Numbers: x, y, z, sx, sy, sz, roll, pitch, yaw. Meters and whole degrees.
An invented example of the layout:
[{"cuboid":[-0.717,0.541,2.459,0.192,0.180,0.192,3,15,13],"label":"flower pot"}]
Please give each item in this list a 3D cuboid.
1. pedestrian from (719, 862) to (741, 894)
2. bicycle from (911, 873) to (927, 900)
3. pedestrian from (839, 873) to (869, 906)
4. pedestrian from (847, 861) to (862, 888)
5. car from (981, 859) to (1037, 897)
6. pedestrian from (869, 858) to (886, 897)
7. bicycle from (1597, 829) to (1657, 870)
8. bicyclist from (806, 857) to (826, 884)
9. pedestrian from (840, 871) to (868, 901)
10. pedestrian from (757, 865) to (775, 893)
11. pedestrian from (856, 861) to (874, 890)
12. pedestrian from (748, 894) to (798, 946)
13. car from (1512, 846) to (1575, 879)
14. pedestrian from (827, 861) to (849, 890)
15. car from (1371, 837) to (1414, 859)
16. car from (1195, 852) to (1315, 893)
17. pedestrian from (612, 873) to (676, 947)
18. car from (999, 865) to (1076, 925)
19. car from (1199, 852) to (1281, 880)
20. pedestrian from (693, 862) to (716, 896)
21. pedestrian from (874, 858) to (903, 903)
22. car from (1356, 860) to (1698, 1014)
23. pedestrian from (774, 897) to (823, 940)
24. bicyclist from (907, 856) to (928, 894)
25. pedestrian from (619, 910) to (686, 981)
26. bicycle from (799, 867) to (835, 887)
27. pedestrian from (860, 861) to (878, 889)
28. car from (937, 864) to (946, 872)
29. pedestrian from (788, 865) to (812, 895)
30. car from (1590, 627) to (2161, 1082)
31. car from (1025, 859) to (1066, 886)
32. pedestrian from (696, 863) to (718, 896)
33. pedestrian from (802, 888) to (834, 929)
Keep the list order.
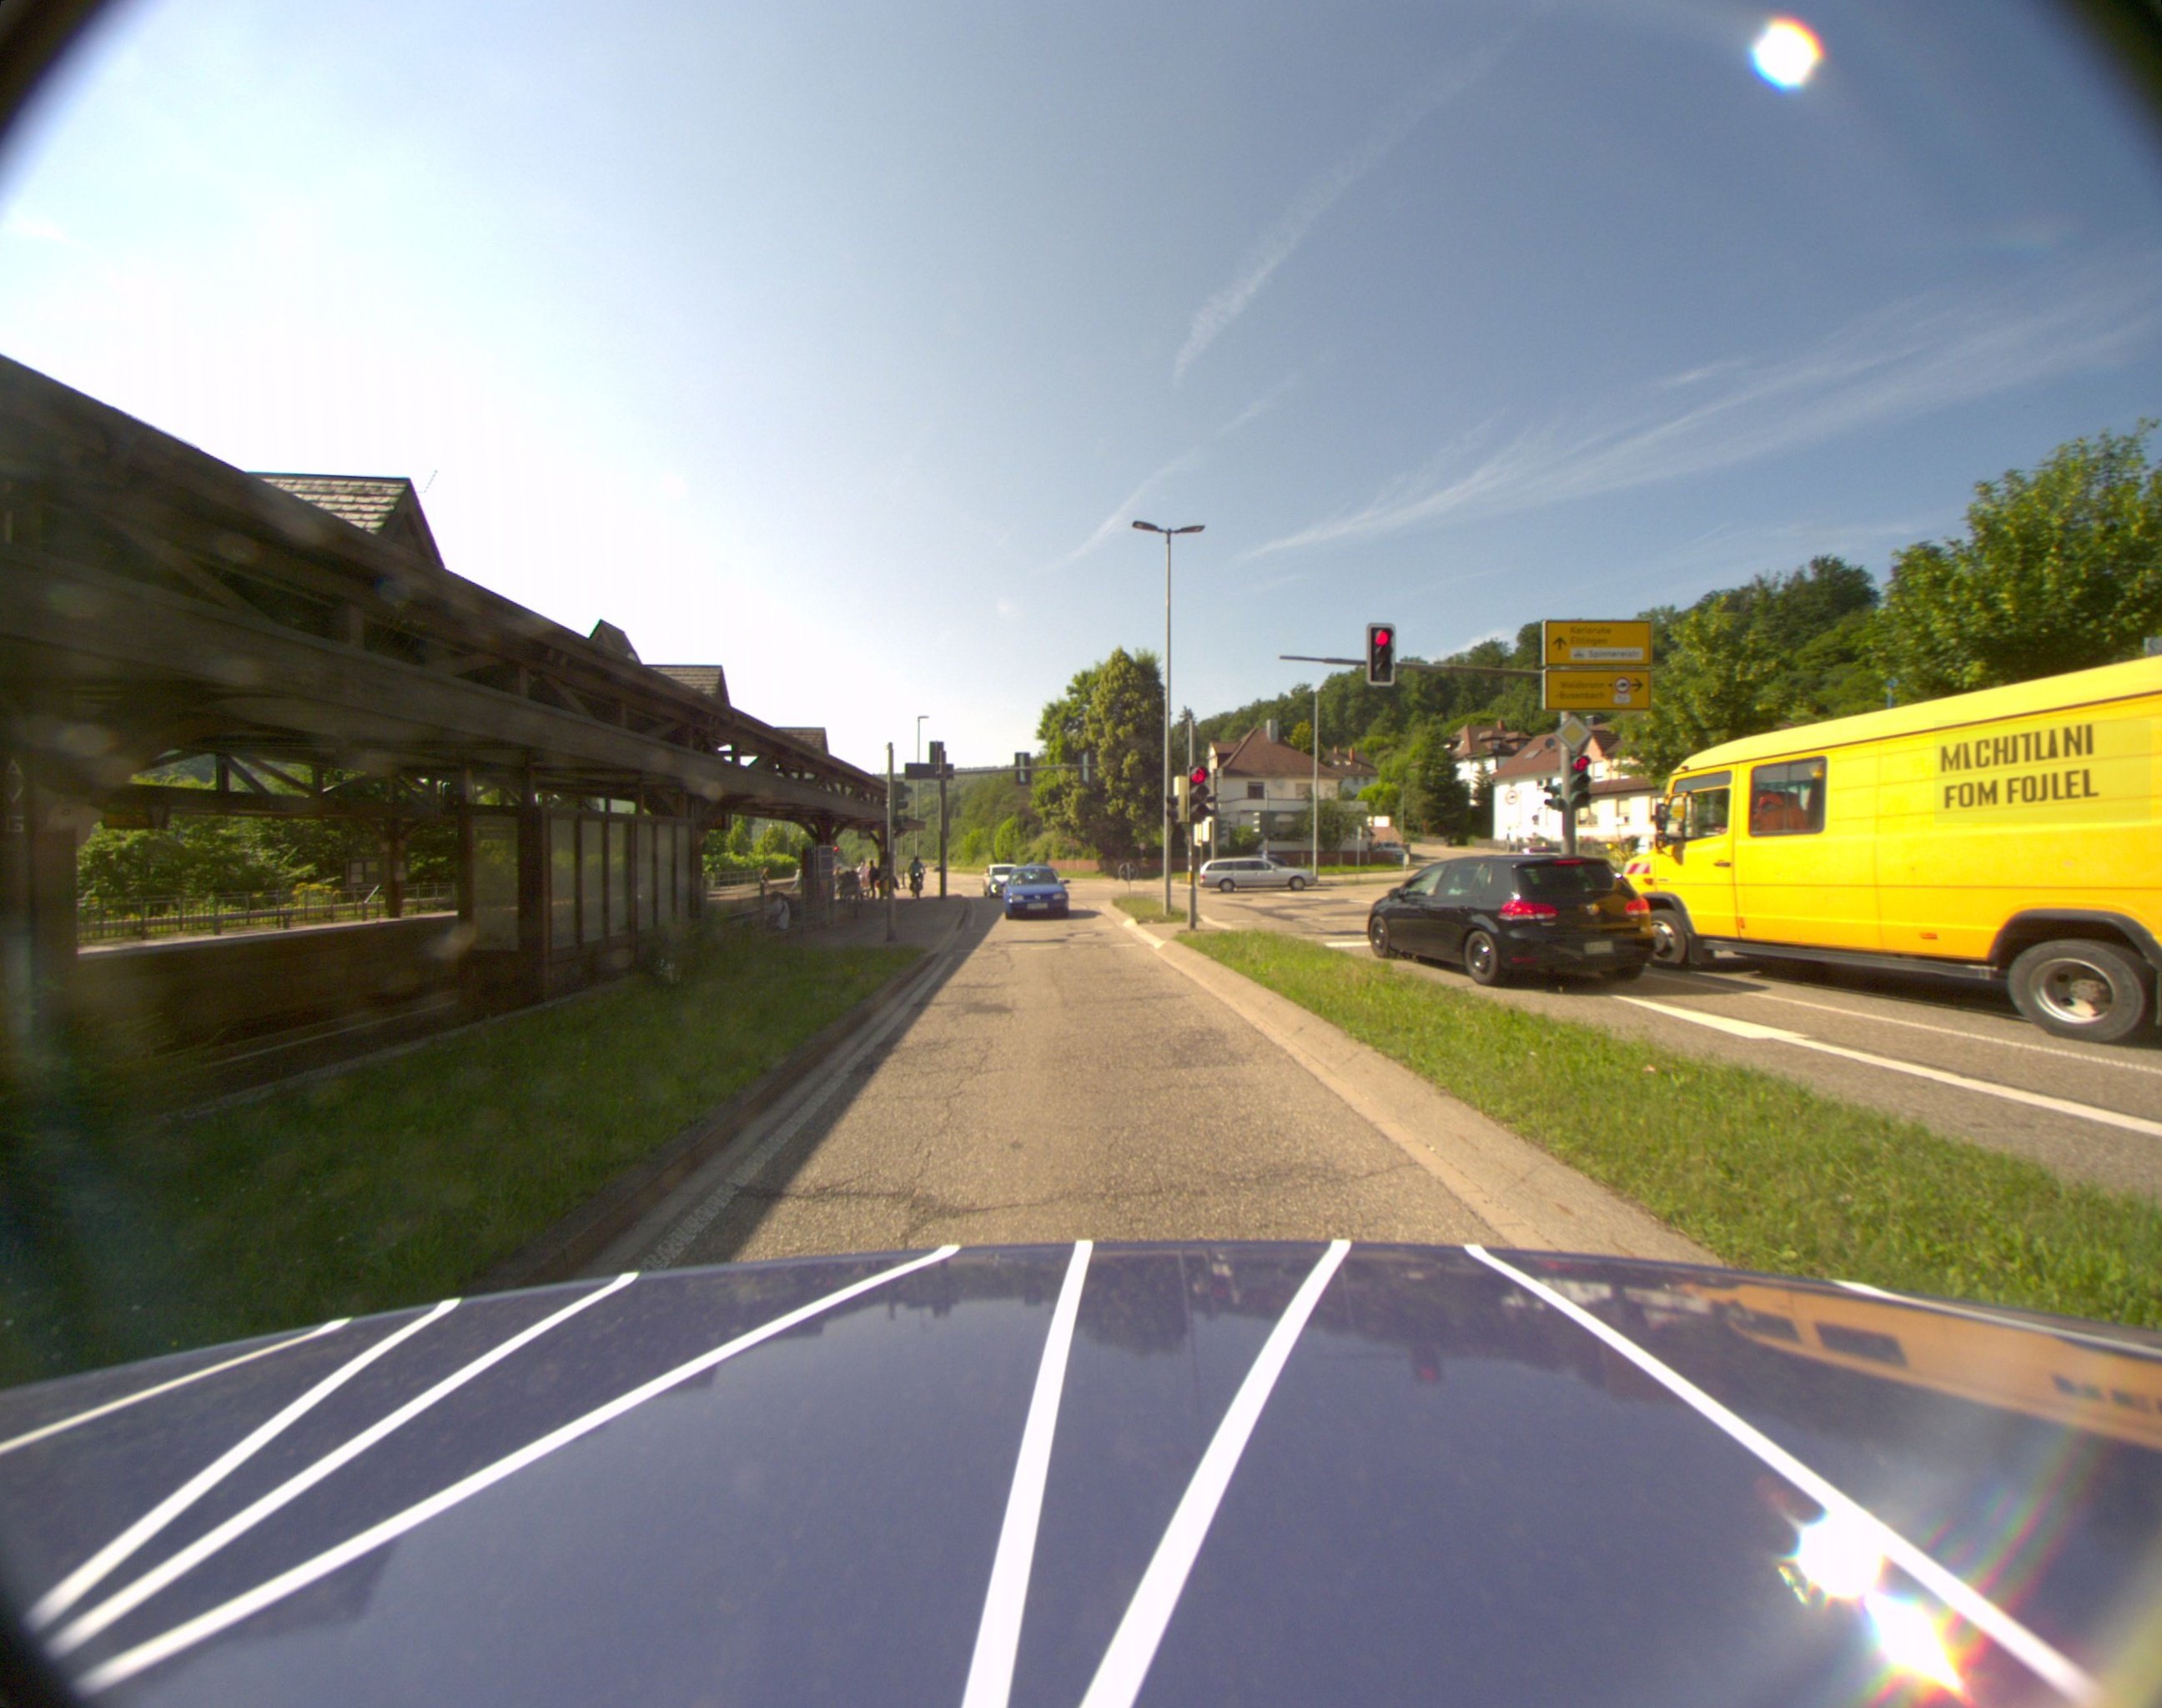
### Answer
[{"cuboid":[-20.746,1.424,44.925,0.904,1.838,0.822,-3,-1,-11],"label":"pedestrian"},{"cuboid":[-6.974,1.385,32.730,0.604,1.049,1.812,-3,0,-11],"label":"bicycle"},{"cuboid":[-8.725,1.362,29.246,0.994,1.228,0.596,-3,-1,-14],"label":"pedestrian"},{"cuboid":[-14.300,1.312,48.010,0.558,1.674,0.685,-3,-1,21],"label":"pedestrian"},{"cuboid":[-3.404,1.076,35.432,2.001,1.575,3.996,-3,0,-13],"label":"car"},{"cuboid":[-8.883,1.021,33.124,0.659,1.682,0.738,-1,0,-13],"label":"pedestrian"},{"cuboid":[18.291,-0.123,25.503,0.620,1.247,1.758,-6,-2,2],"label":"bicycle"},{"cuboid":[-17.170,1.050,49.243,0.902,1.674,0.823,-3,-1,9],"label":"bicyclist"},{"cuboid":[-9.078,1.271,30.433,1.010,1.153,0.947,-2,1,-13],"label":"pedestrian"},{"cuboid":[-19.020,1.512,45.932,0.905,1.674,1.123,-3,-1,-23],"label":"pedestrian"},{"cuboid":[-13.185,1.307,46.453,0.868,1.674,0.822,-3,-1,-7],"label":"pedestrian"},{"cuboid":[-6.421,1.364,15.884,0.744,0.976,0.769,-3,-1,-7],"label":"pedestrian"},{"cuboid":[23.412,0.413,38.412,3.963,1.525,1.658,-1,-1,-43],"label":"car"},{"cuboid":[-14.802,1.295,46.275,0.901,1.674,0.824,-4,-1,42],"label":"pedestrian"},{"cuboid":[25.830,-0.493,63.124,1.939,1.627,4.001,-3,-1,2],"label":"car"},{"cuboid":[7.430,0.778,32.326,4.741,1.495,1.984,-3,-1,19],"label":"car"},{"cuboid":[-9.430,1.193,16.430,0.863,1.538,0.922,-1,-1,-5],"label":"pedestrian"},{"cuboid":[-1.332,1.075,21.548,1.866,1.474,4.299,-1,0,-7],"label":"car"},{"cuboid":[9.692,0.748,46.520,4.743,1.475,1.983,-3,-1,11],"label":"car"},{"cuboid":[-20.832,1.376,42.060,0.904,1.838,0.822,-3,-1,-11],"label":"pedestrian"},{"cuboid":[-7.749,1.056,30.640,0.916,1.726,1.251,-3,-1,-6],"label":"pedestrian"},{"cuboid":[5.107,0.821,9.458,1.750,1.454,4.042,-1,0,-3],"label":"car"},{"cuboid":[-6.423,1.458,17.331,0.847,0.869,0.807,-3,-1,-7],"label":"pedestrian"},{"cuboid":[-7.037,0.893,32.780,0.787,1.559,0.946,-3,1,-11],"label":"bicyclist"},{"cuboid":[-7.302,1.547,12.968,0.744,1.110,0.667,-3,-1,-7],"label":"pedestrian"},{"cuboid":[-17.082,1.486,49.207,2.017,1.201,0.710,-3,-1,9],"label":"bicycle"},{"cuboid":[-12.725,1.266,45.563,0.823,1.674,0.902,-3,-1,-24],"label":"pedestrian"},{"cuboid":[-32.343,3.218,176.176,2.000,1.739,3.998,-3,-1,-9],"label":"car"},{"cuboid":[-17.276,1.596,46.715,0.990,1.831,1.073,-2,-1,0],"label":"pedestrian"},{"cuboid":[8.230,-0.042,6.949,2.474,2.993,6.464,-3,0,-3],"label":"car"},{"cuboid":[-2.160,1.067,44.895,1.981,1.495,3.983,-1,0,-9],"label":"car"},{"cuboid":[-21.965,1.484,44.626,0.904,1.838,0.822,-3,-1,-11],"label":"pedestrian"},{"cuboid":[-6.539,1.357,18.892,0.619,0.960,0.406,-3,-1,-7],"label":"pedestrian"}]
